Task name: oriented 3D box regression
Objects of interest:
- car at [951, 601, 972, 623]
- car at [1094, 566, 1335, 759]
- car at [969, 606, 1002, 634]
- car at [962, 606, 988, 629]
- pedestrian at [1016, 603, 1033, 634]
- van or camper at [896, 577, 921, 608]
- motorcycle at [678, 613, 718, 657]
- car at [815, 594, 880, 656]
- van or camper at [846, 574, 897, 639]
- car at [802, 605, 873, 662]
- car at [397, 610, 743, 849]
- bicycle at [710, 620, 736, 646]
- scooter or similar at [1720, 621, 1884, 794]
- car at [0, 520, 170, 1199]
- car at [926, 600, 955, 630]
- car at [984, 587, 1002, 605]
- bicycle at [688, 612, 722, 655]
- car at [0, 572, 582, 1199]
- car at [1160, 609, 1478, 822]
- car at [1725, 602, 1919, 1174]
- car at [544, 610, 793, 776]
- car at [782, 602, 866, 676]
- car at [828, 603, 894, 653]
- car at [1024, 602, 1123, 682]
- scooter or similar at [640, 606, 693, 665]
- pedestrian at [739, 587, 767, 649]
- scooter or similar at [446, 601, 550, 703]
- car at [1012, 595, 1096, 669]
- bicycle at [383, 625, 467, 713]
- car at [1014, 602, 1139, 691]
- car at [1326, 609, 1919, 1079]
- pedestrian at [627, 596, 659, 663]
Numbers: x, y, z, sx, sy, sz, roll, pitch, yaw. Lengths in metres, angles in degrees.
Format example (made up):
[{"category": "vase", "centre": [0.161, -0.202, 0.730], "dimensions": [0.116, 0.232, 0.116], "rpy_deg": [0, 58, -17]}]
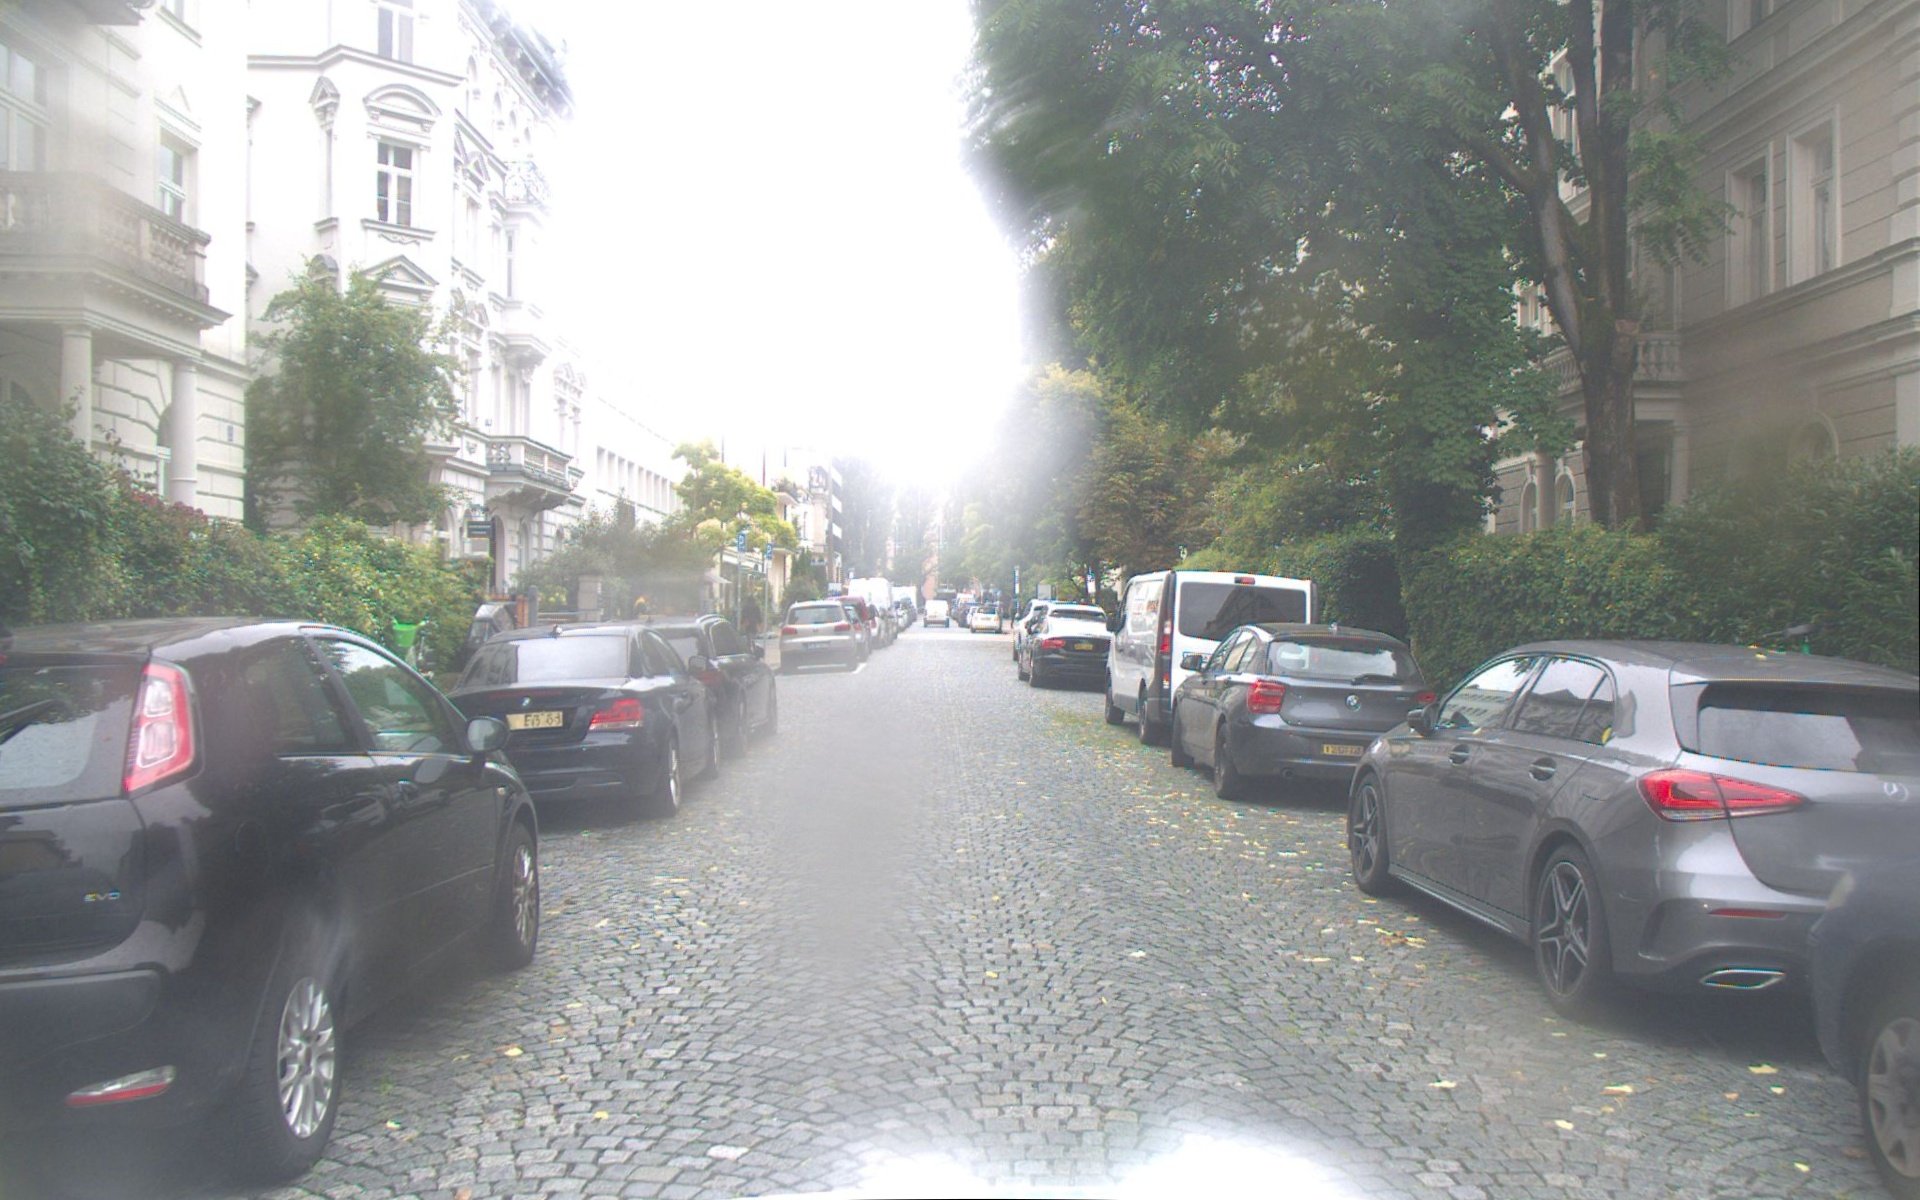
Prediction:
[{"category": "car", "centre": [0.089, 1.149, 157.810], "dimensions": [1.953, 2.049, 3.999], "rpy_deg": [1, 0, 0]}, {"category": "car", "centre": [2.923, 0.674, 20.196], "dimensions": [1.836, 1.962, 5.161], "rpy_deg": [3, 0, -3]}, {"category": "car", "centre": [1.427, 1.142, 93.891], "dimensions": [1.753, 1.547, 3.999], "rpy_deg": [0, 0, 0]}, {"category": "car", "centre": [1.044, 1.209, 114.564], "dimensions": [1.753, 1.547, 3.999], "rpy_deg": [0, 0, 0]}, {"category": "pedestrian", "centre": [4.336, 1.225, 111.354], "dimensions": [0.843, 2.049, 0.986], "rpy_deg": [0, -1, -18]}, {"category": "van or camper", "centre": [-4.852, -0.684, 157.315], "dimensions": [2.210, 2.790, 5.097], "rpy_deg": [1, 0, -1]}, {"category": "motorcycle", "centre": [-7.592, 1.001, 47.946], "dimensions": [0.609, 1.217, 1.866], "rpy_deg": [0, 0, 8]}, {"category": "car", "centre": [-3.534, 0.773, 52.580], "dimensions": [1.836, 1.807, 4.121], "rpy_deg": [-3, 0, -2]}, {"category": "van or camper", "centre": [-3.857, 0.283, 72.747], "dimensions": [1.953, 2.698, 3.999], "rpy_deg": [-3, 0, 0]}, {"category": "car", "centre": [-3.366, 0.891, 46.146], "dimensions": [1.836, 1.476, 4.205], "rpy_deg": [-2, 0, -3]}, {"category": "car", "centre": [-2.849, 0.859, 13.087], "dimensions": [1.747, 1.442, 4.495], "rpy_deg": [-3, 0, -2]}, {"category": "bicycle", "centre": [-8.122, 1.108, 56.720], "dimensions": [0.492, 0.854, 2.090], "rpy_deg": [0, 0, 2]}, {"category": "scooter or similar", "centre": [6.585, 0.809, 12.993], "dimensions": [0.407, 1.256, 1.242], "rpy_deg": [-3, 0, -12]}, {"category": "car", "centre": [-2.589, 0.681, 0.839], "dimensions": [1.938, 1.588, 5.017], "rpy_deg": [-2, 0, 0]}, {"category": "car", "centre": [-1.349, 1.055, 116.101], "dimensions": [1.953, 2.049, 3.999], "rpy_deg": [0, 0, 0]}, {"category": "car", "centre": [3.906, -0.514, 196.850], "dimensions": [1.953, 2.049, 3.999], "rpy_deg": [0, -1, 0]}, {"category": "bicycle", "centre": [-7.737, 1.000, 50.109], "dimensions": [0.645, 1.242, 2.077], "rpy_deg": [0, 0, -19]}, {"category": "car", "centre": [-2.530, 0.693, 5.934], "dimensions": [1.629, 1.469, 4.168], "rpy_deg": [-1, 0, -4]}, {"category": "car", "centre": [2.972, 0.881, 14.666], "dimensions": [1.799, 1.516, 4.421], "rpy_deg": [3, 0, 0]}, {"category": "car", "centre": [3.415, 0.780, 3.215], "dimensions": [1.661, 1.465, 4.057], "rpy_deg": [3, 0, -5]}, {"category": "car", "centre": [-2.980, 0.898, 17.858], "dimensions": [1.848, 1.442, 4.406], "rpy_deg": [-3, 0, 0]}, {"category": "car", "centre": [-3.243, 0.894, 40.118], "dimensions": [1.836, 1.607, 4.253], "rpy_deg": [-3, 0, -3]}, {"category": "car", "centre": [-3.413, 0.972, 57.797], "dimensions": [1.834, 1.607, 4.209], "rpy_deg": [2, 0, 2]}, {"category": "car", "centre": [2.516, 0.912, 37.609], "dimensions": [1.781, 1.607, 4.206], "rpy_deg": [3, 0, -1]}, {"category": "scooter or similar", "centre": [-7.510, 0.892, 42.406], "dimensions": [0.922, 1.467, 2.656], "rpy_deg": [0, 0, -1]}, {"category": "pedestrian", "centre": [-6.712, 0.577, 53.546], "dimensions": [0.776, 1.951, 0.758], "rpy_deg": [1, 0, -1]}, {"category": "scooter or similar", "centre": [-7.108, 0.769, 25.602], "dimensions": [0.922, 1.467, 2.655], "rpy_deg": [2, 0, -2]}, {"category": "car", "centre": [2.446, 0.825, 44.192], "dimensions": [1.835, 1.763, 4.592], "rpy_deg": [3, 0, -1]}, {"category": "bicycle", "centre": [-7.382, 0.924, 22.908], "dimensions": [0.565, 1.142, 2.050], "rpy_deg": [0, 0, -2]}, {"category": "car", "centre": [2.195, 0.850, 32.288], "dimensions": [1.836, 1.529, 4.508], "rpy_deg": [3, 0, -3]}, {"category": "car", "centre": [3.085, 0.838, 7.593], "dimensions": [1.679, 1.498, 4.267], "rpy_deg": [3, 0, -2]}, {"category": "pedestrian", "centre": [-8.213, 0.752, 42.900], "dimensions": [0.703, 1.717, 0.695], "rpy_deg": [0, -1, -2]}]
